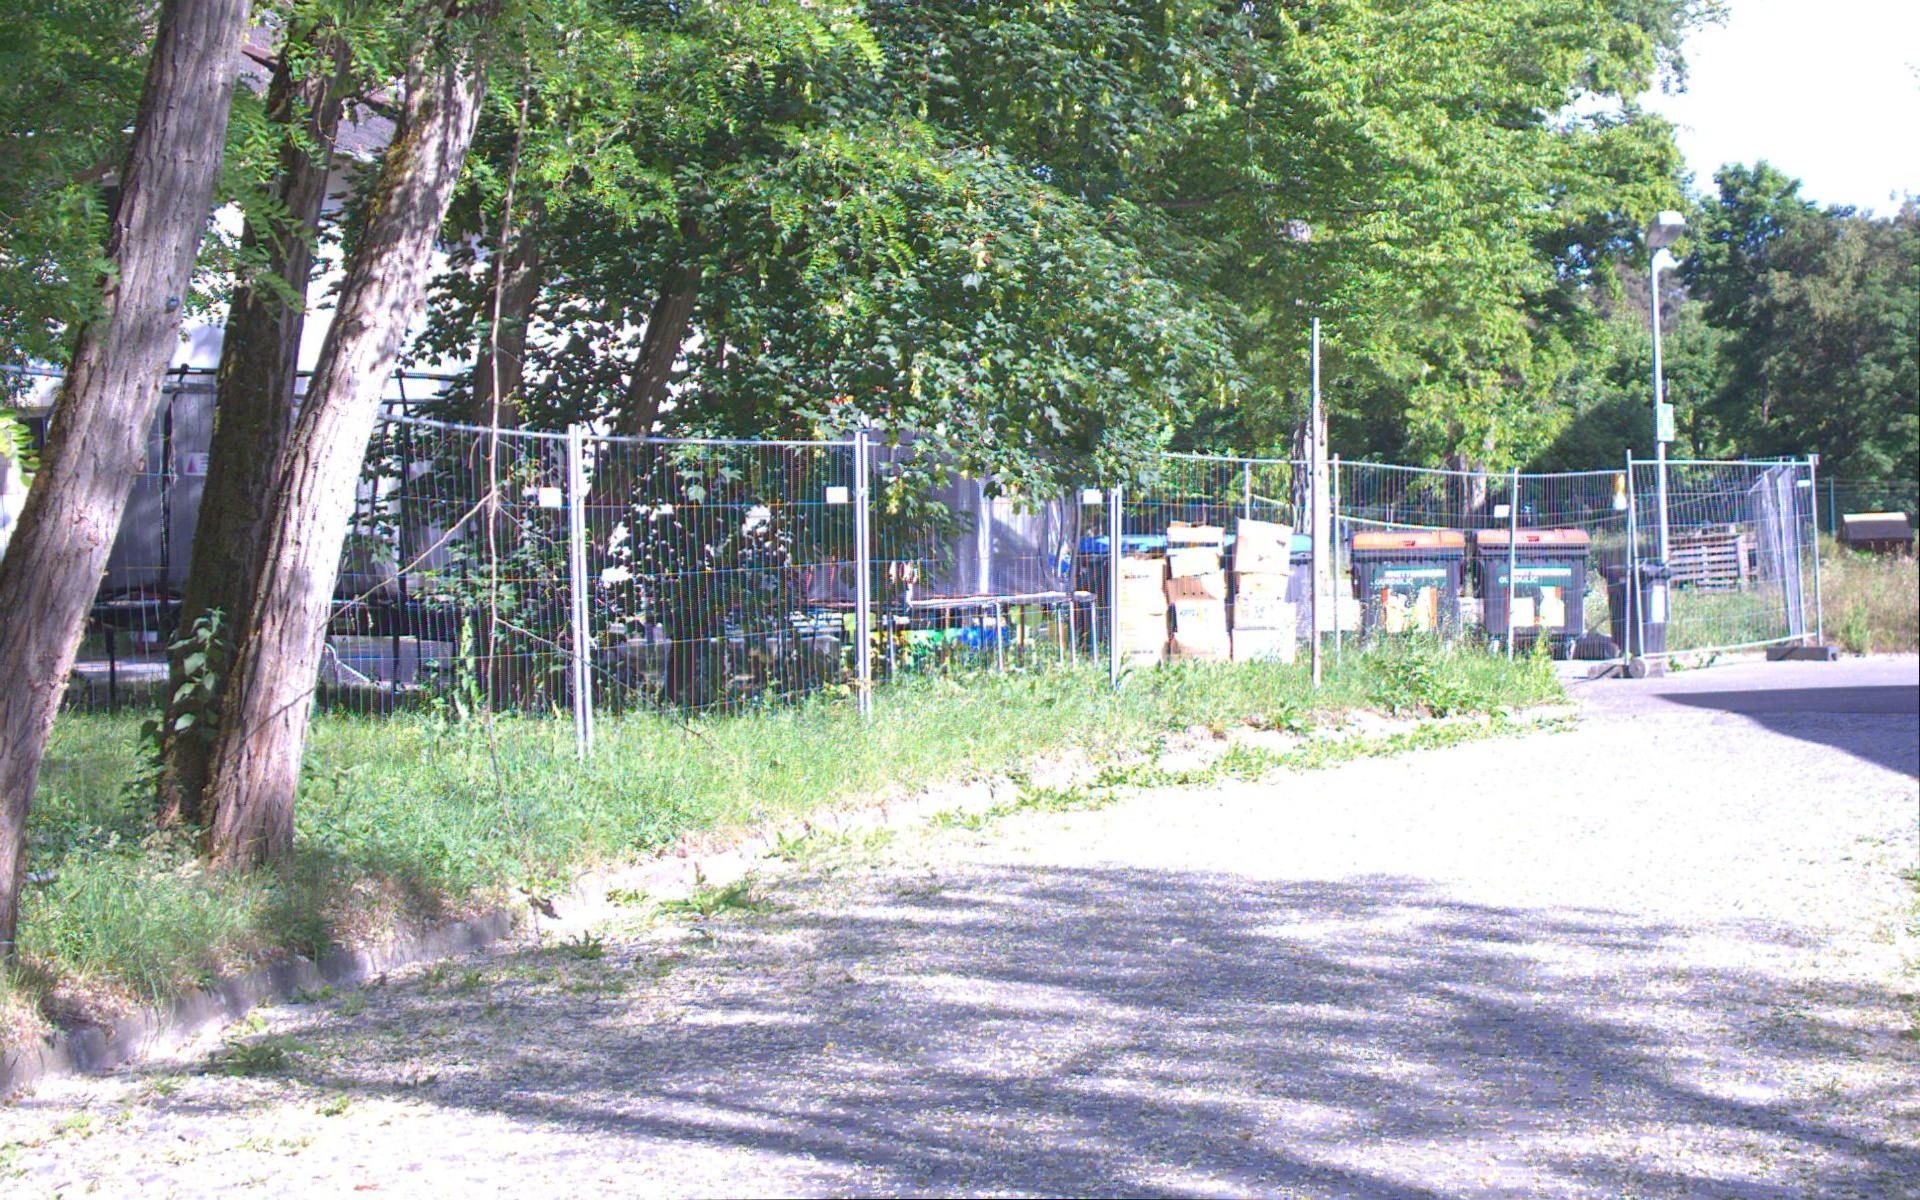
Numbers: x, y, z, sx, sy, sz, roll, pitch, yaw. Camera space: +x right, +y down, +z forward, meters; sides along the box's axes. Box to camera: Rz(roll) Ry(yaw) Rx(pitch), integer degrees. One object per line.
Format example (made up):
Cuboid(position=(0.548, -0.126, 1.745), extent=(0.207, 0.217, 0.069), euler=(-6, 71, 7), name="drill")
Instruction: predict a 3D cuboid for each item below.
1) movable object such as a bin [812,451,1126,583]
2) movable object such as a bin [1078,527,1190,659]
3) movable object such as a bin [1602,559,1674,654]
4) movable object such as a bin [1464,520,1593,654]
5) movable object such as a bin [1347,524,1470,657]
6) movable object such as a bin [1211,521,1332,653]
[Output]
Cuboid(position=(0.185, -1.330, 55.756), extent=(4.872, 1.963, 1.932), euler=(-1, 1, 6), name="movable object such as a bin")
Cuboid(position=(1.952, -0.086, 38.410), extent=(1.084, 1.433, 1.055), euler=(-1, 1, 10), name="movable object such as a bin")
Cuboid(position=(7.414, 0.068, 37.582), extent=(0.642, 1.004, 0.604), euler=(-1, 1, 24), name="movable object such as a bin")
Cuboid(position=(6.265, -0.149, 37.941), extent=(1.287, 1.421, 1.032), euler=(-2, 1, 5), name="movable object such as a bin")
Cuboid(position=(4.956, -0.114, 38.067), extent=(1.287, 1.421, 1.032), euler=(-1, 1, 6), name="movable object such as a bin")
Cuboid(position=(3.478, -0.153, 38.285), extent=(1.287, 1.421, 1.032), euler=(-1, 1, 6), name="movable object such as a bin")
